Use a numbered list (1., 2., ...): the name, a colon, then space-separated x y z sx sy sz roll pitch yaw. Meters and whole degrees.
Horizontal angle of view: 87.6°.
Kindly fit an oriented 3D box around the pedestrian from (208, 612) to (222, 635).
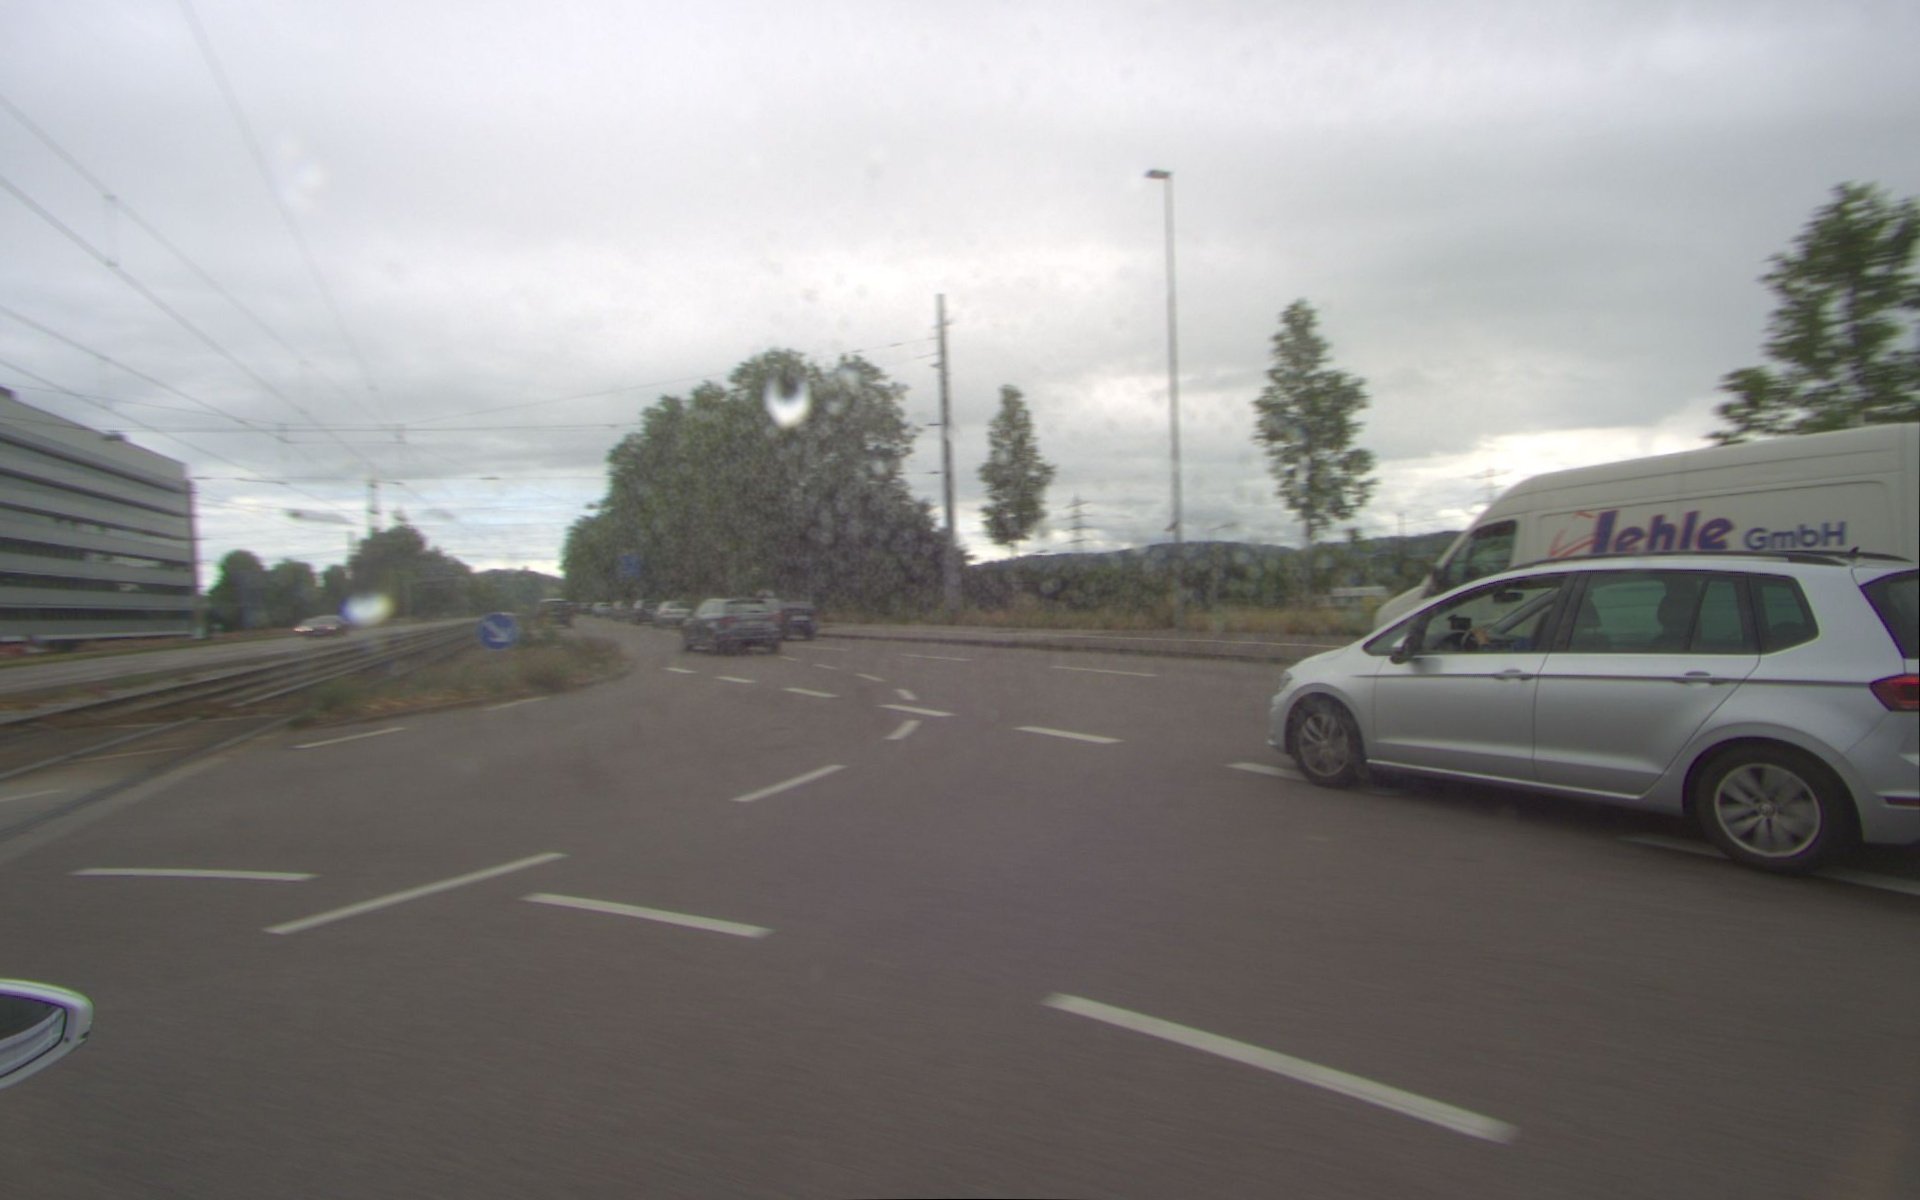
1. pedestrian: -55.043 1.762 74.006 0.534 1.675 0.615 -1 0 7

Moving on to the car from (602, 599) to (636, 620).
1. car: -27.083 0.754 79.371 1.835 1.582 4.296 0 -1 -29

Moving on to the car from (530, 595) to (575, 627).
1. car: -22.775 0.621 55.885 1.811 1.658 4.296 -2 1 -29

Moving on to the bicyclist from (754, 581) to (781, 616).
1. bicyclist: -8.532 -0.084 44.372 0.807 1.499 0.994 -4 3 -32

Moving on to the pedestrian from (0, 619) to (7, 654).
1. pedestrian: -49.923 1.887 51.904 0.689 1.814 0.638 -1 0 -38

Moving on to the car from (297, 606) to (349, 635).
1. car: -41.656 1.317 65.561 1.966 1.751 3.988 -3 1 -21

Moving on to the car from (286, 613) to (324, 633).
1. car: -56.239 1.977 86.042 1.717 1.623 4.066 -1 -1 -19

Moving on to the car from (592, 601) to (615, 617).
1. car: -34.969 0.886 98.191 1.792 1.500 3.659 -1 -1 -24

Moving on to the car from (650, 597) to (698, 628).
1. car: -14.959 0.641 52.326 1.707 1.529 3.615 -1 1 -28

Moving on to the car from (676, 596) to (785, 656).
1. car: -6.088 0.633 26.245 1.718 1.420 4.056 -2 1 -29

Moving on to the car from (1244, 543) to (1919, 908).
1. car: 4.008 0.530 6.312 1.834 1.573 4.179 -2 1 -30

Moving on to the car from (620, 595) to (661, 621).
1. car: -20.187 0.508 63.163 1.834 1.582 4.298 0 -1 -27

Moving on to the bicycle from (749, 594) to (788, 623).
1. bicycle: -8.503 0.357 44.452 0.807 1.201 2.507 -4 3 -32

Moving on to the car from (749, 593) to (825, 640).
1. car: -5.996 0.515 34.394 1.712 1.499 4.305 -1 1 -22

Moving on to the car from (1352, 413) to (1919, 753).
1. car: 7.503 -0.140 10.781 2.624 2.661 5.873 -1 0 -27

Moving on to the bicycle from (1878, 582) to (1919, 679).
1. bicycle: 11.293 0.352 11.004 0.540 1.060 1.702 -5 3 -24

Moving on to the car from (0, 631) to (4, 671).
1. car: -37.987 2.002 37.438 1.704 1.559 4.035 -1 0 -20
